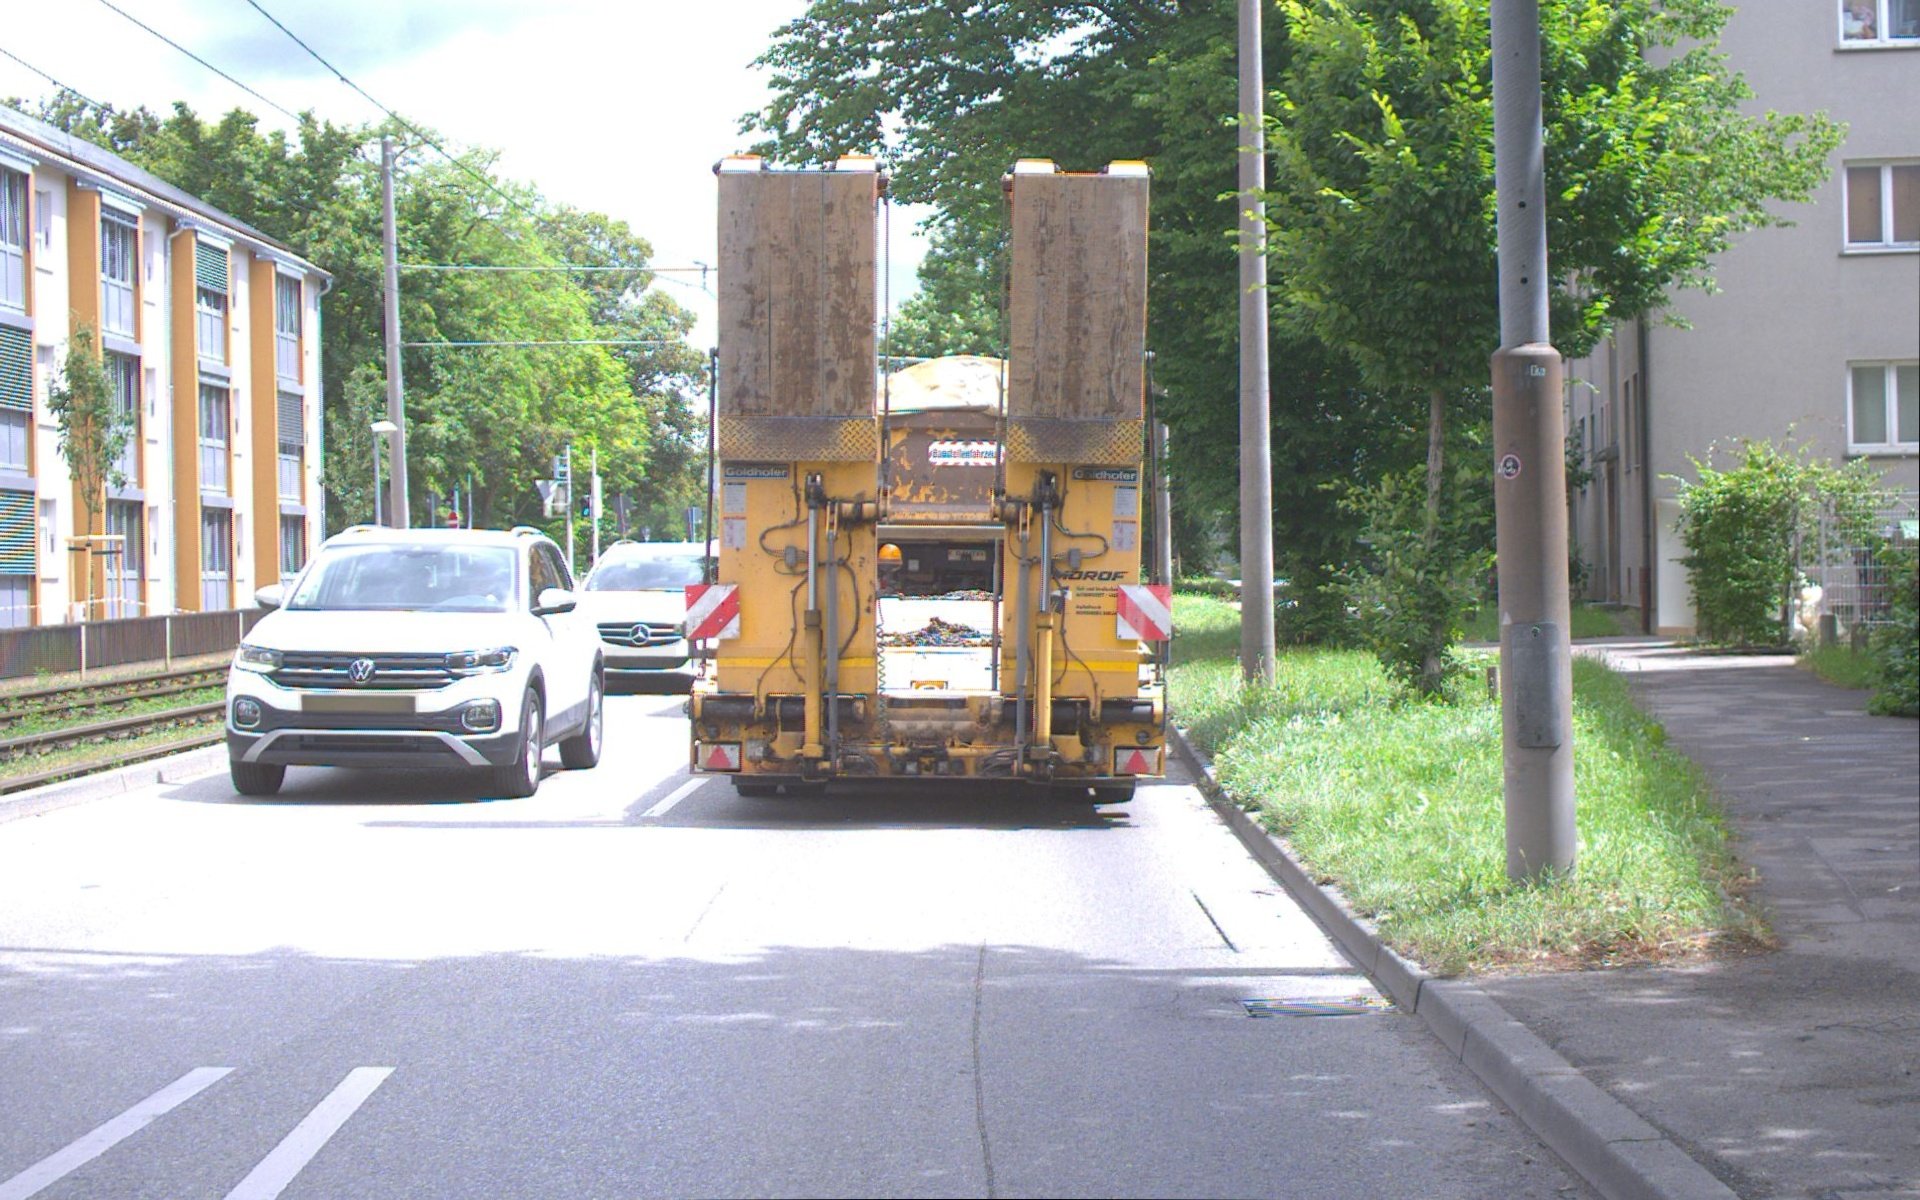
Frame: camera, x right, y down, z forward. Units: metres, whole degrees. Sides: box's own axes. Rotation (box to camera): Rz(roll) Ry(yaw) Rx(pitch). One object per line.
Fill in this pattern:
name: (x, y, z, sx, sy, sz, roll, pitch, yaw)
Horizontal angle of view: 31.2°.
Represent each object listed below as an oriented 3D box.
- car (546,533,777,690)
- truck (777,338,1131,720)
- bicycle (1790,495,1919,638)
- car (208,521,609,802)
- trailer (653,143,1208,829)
car: (-2.993, 0.064, 35.369, 1.879, 1.476, 4.528, 1, 1, 1)
truck: (0.045, -0.677, 32.715, 2.917, 3.156, 7.680, 1, 1, 1)
bicycle: (10.096, -0.379, 38.569, 1.347, 1.568, 1.071, -1, 1, 4)
car: (-3.275, 0.312, 21.103, 1.718, 1.547, 3.917, 1, 1, 2)
trailer: (-0.097, -0.698, 23.366, 2.823, 3.512, 11.052, 1, 1, 1)
